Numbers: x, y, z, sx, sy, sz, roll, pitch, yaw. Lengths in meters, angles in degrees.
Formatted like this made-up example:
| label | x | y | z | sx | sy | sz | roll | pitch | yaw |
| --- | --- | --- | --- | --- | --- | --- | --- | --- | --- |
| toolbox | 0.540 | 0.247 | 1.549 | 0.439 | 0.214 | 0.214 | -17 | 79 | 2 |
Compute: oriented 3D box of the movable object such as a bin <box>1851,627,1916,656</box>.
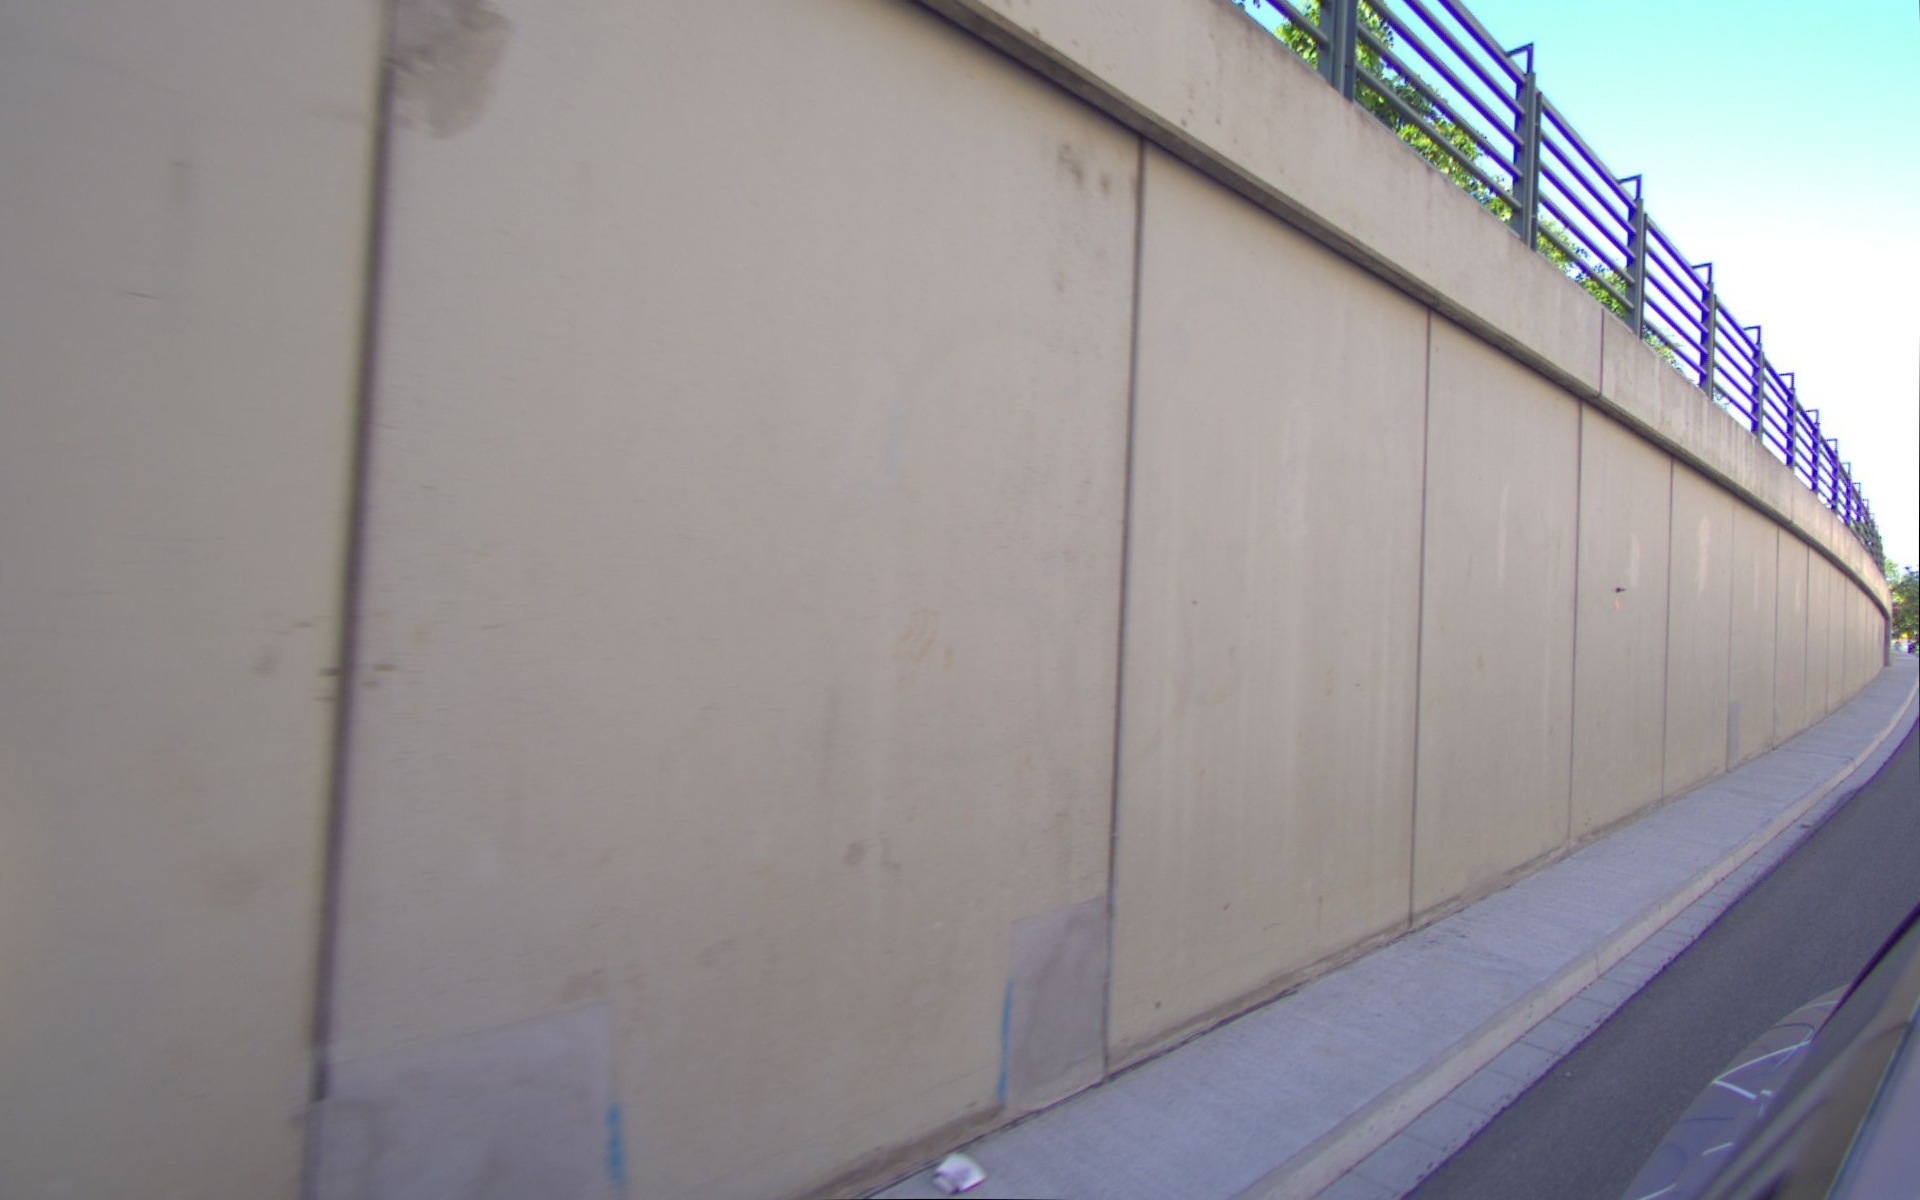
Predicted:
| label | x | y | z | sx | sy | sz | roll | pitch | yaw |
| --- | --- | --- | --- | --- | --- | --- | --- | --- | --- |
| movable object such as a bin | 73.670 | 3.314 | 80.798 | 3.209 | 2.103 | 2.092 | 3 | -1 | 24 |
